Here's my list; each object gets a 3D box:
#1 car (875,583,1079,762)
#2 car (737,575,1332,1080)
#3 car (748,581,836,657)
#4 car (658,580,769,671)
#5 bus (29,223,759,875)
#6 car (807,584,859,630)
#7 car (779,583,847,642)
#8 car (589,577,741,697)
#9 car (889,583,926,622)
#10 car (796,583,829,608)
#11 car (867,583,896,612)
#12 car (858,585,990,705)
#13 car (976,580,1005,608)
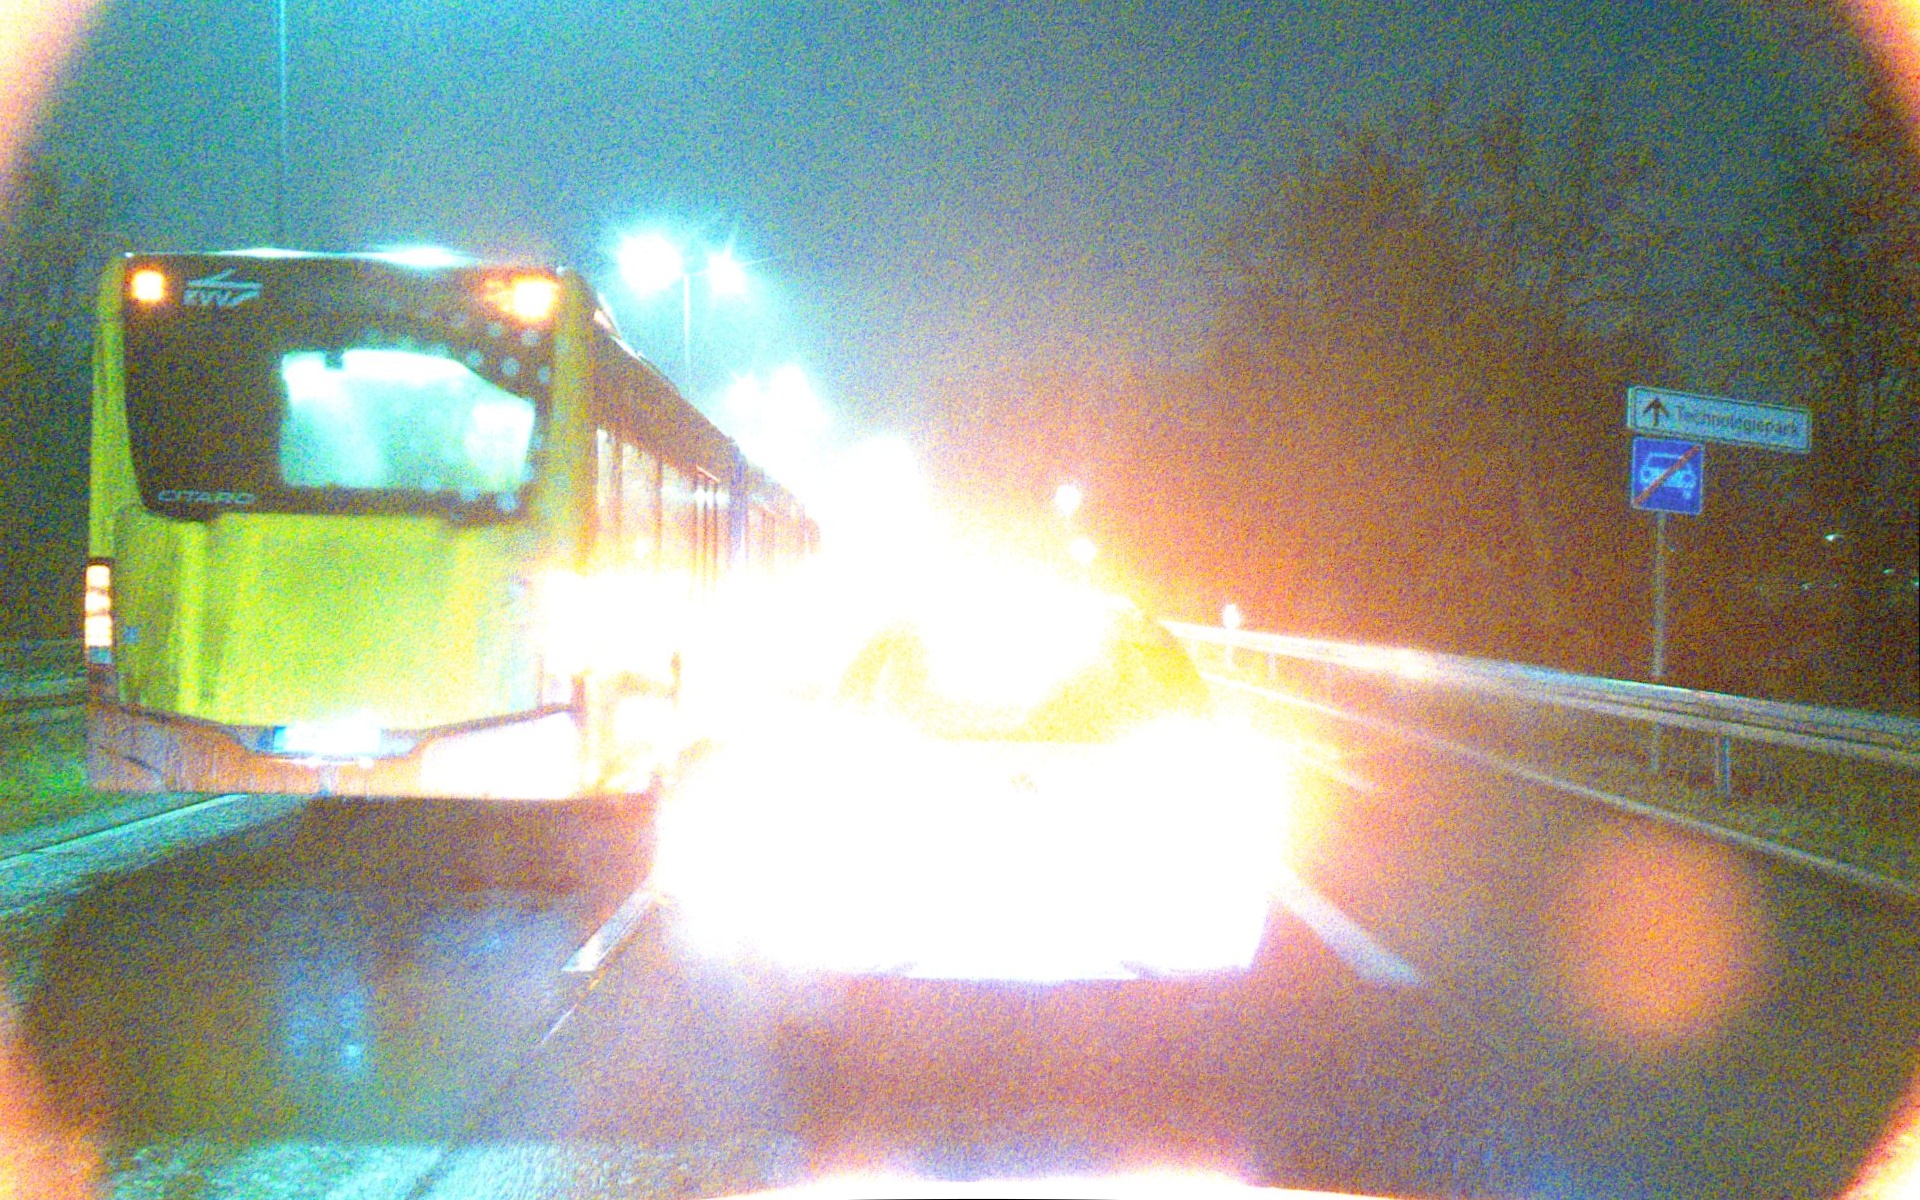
[{"bbox_3d":[0.035,0.591,16.180,1.697,1.474,4.722,1,0,-3],"label":"car"},{"bbox_3d":[0.277,0.669,7.276,1.784,1.510,4.568,0,0,1],"label":"car"},{"bbox_3d":[-3.684,0.390,36.788,1.744,1.570,3.872,1,0,-3],"label":"car"},{"bbox_3d":[-4.538,0.432,30.913,1.744,1.570,3.871,1,0,-4],"label":"car"},{"bbox_3d":[-3.205,-0.263,12.214,2.759,3.077,8.682,0,0,-3],"label":"bus"},{"bbox_3d":[-4.495,0.222,58.683,1.744,1.570,3.871,1,0,-4],"label":"car"},{"bbox_3d":[-4.127,0.322,46.885,1.744,1.570,3.872,1,0,-3],"label":"car"},{"bbox_3d":[-4.128,0.476,23.690,1.744,1.570,3.871,1,0,-4],"label":"car"},{"bbox_3d":[-2.870,0.120,91.118,1.953,2.049,3.999,1,0,-1],"label":"car"},{"bbox_3d":[-10.277,-0.315,115.560,1.953,1.668,3.999,1,0,-1],"label":"car"},{"bbox_3d":[-5.201,-0.159,110.113,1.779,1.829,3.802,1,0,-1],"label":"car"},{"bbox_3d":[-0.597,0.589,24.045,1.705,1.592,3.773,1,0,-4],"label":"car"},{"bbox_3d":[2.140,-0.412,117.580,1.913,1.915,3.999,1,0,-1],"label":"car"}]
